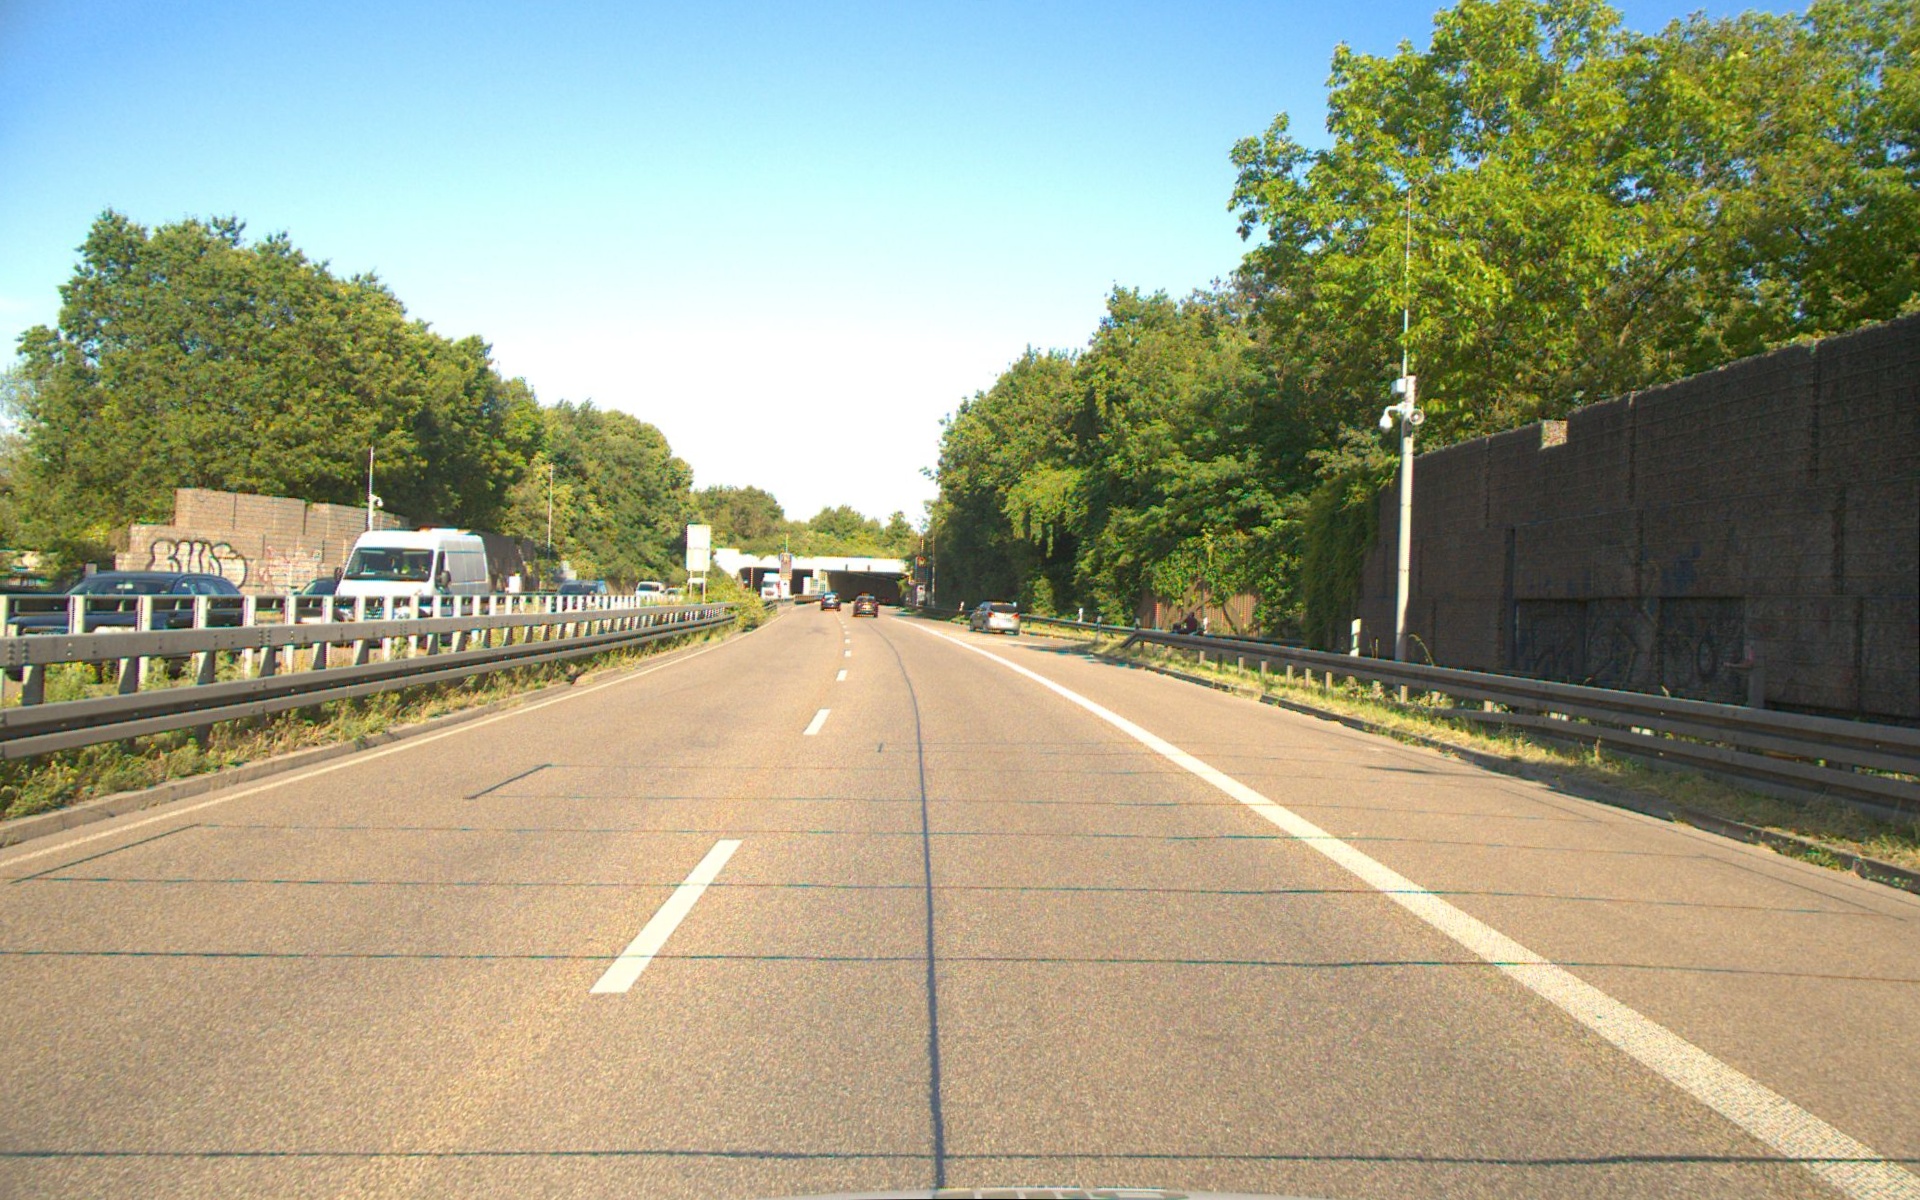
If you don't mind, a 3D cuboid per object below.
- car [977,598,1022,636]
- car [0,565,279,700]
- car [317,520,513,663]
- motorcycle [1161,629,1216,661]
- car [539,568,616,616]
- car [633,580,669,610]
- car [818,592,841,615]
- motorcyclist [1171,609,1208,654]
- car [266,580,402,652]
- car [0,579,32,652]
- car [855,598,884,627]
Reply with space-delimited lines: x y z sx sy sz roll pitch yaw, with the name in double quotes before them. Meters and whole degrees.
"car" 1.830 0.758 77.122 1.634 1.579 3.997 4 1 -4
"car" -11.049 0.336 21.892 1.953 1.459 5.089 4 1 -1
"car" -11.845 -0.216 36.532 2.078 2.729 6.587 4 1 -1
"motorcycle" 8.286 1.630 60.076 0.845 1.008 2.715 4 0 -17
"car" -13.590 -0.304 58.978 1.954 1.606 4.245 1 1 -4
"car" -21.402 -0.358 114.800 1.786 1.853 4.618 4 1 -4
"car" -11.569 0.297 146.723 1.955 1.959 3.996 2 0 -5
"motorcyclist" 8.323 1.140 60.026 0.869 1.527 1.058 3 1 -18
"car" -16.317 0.362 43.371 1.864 1.648 4.694 4 1 -2
"car" -20.107 0.300 32.496 1.957 1.412 4.020 4 1 -10
"car" -6.557 0.903 119.525 1.955 1.959 3.996 2 0 -5
